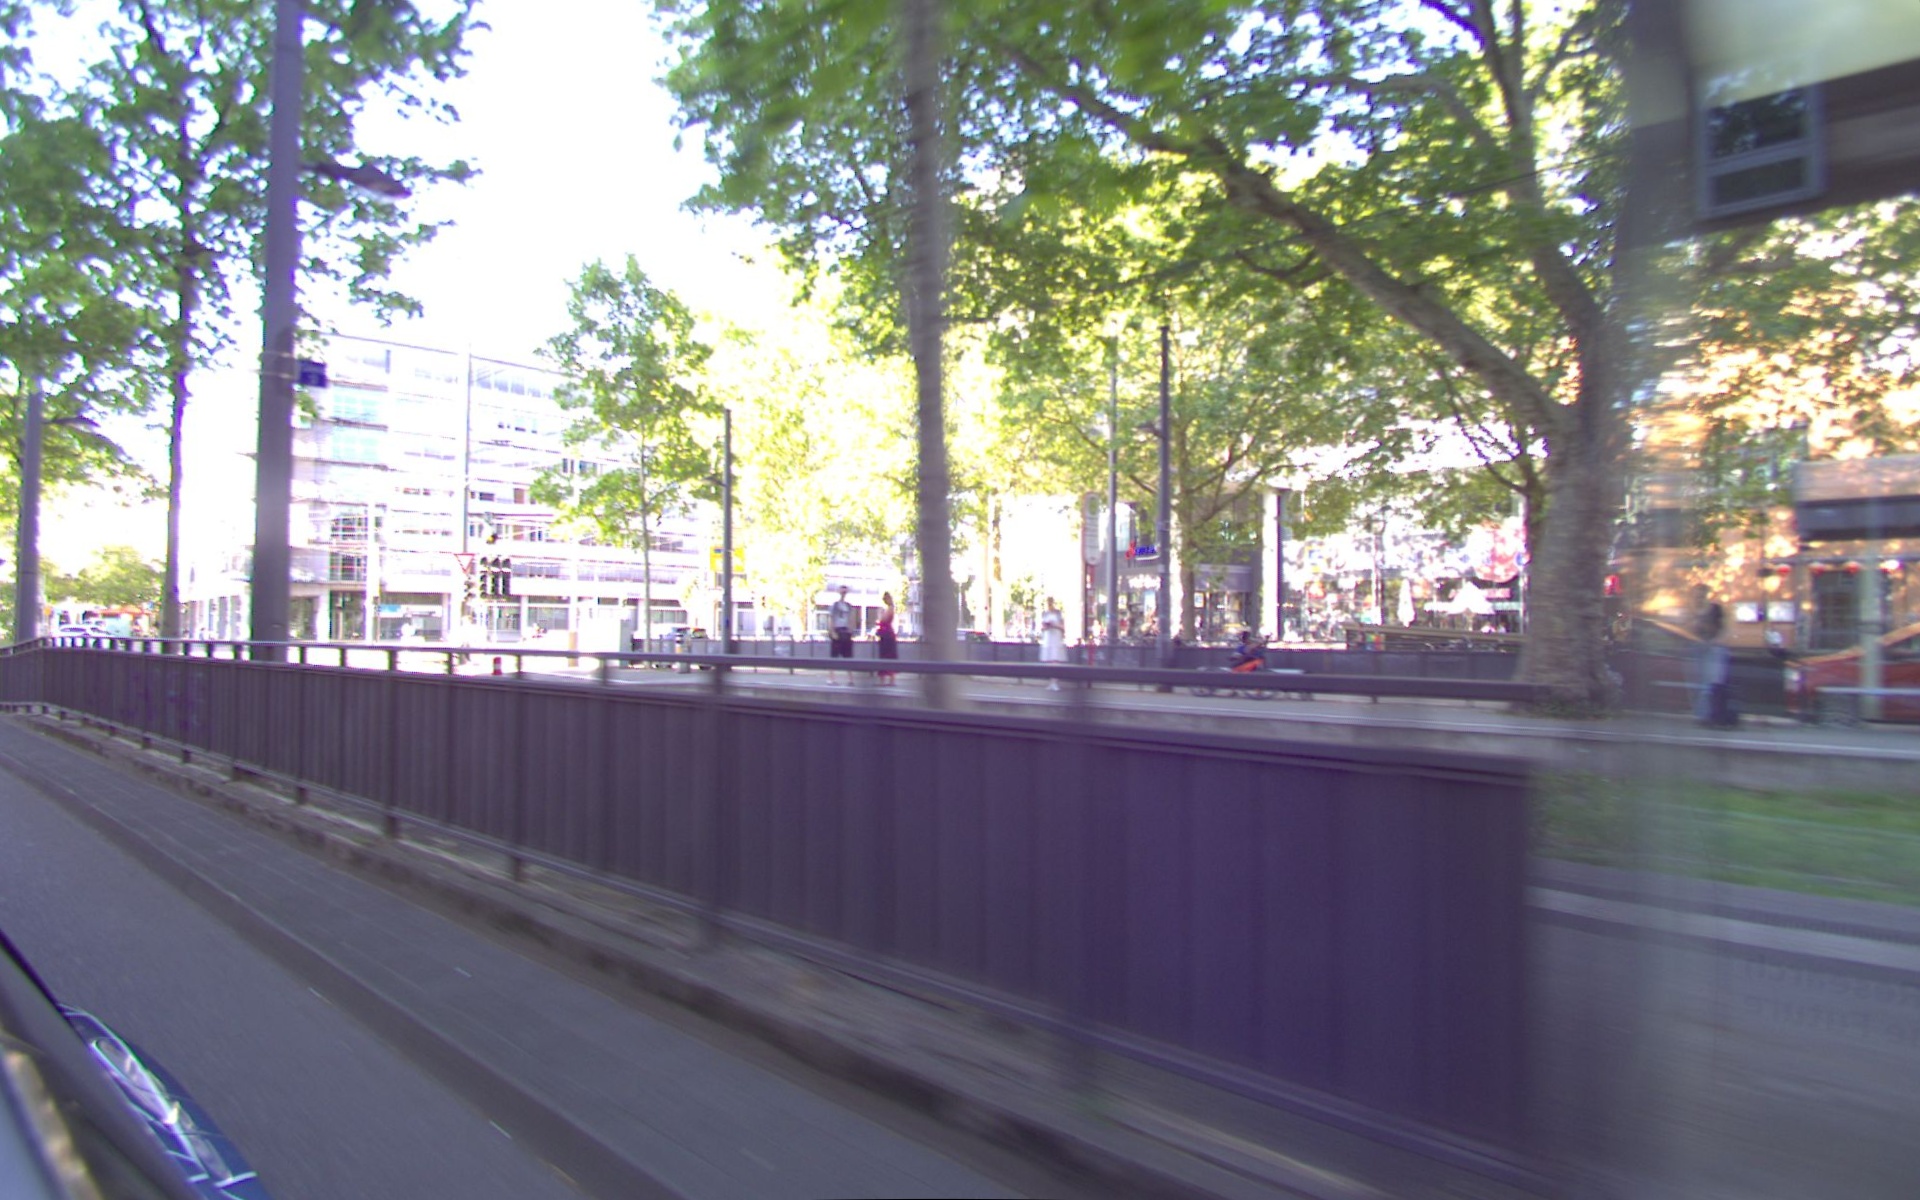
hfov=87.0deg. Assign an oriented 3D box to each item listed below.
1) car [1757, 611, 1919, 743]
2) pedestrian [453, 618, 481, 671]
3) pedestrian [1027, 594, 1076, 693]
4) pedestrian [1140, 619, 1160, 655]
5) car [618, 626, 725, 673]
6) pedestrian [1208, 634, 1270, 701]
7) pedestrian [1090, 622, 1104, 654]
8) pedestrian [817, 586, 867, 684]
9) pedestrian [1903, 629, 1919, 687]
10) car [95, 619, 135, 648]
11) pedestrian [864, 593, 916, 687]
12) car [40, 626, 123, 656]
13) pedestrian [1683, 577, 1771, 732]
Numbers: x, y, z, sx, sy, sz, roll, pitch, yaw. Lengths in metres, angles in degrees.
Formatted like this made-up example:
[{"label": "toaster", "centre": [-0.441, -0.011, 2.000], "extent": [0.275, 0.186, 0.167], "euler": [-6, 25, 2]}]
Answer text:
[{"label": "car", "centre": [13.021, 0.998, 13.196], "extent": [3.999, 1.652, 1.972], "euler": [-1, -3, 42]}, {"label": "pedestrian", "centre": [-16.011, 1.425, 32.853], "extent": [0.501, 1.698, 0.640], "euler": [-1, -2, 38]}, {"label": "pedestrian", "centre": [1.669, 0.787, 18.442], "extent": [0.635, 1.753, 0.690], "euler": [-1, -2, 32]}, {"label": "pedestrian", "centre": [9.421, 1.820, 50.157], "extent": [0.852, 1.753, 0.788], "euler": [-1, -2, 24]}, {"label": "car", "centre": [-9.430, 1.573, 33.055], "extent": [3.340, 1.466, 1.847], "euler": [-1, -2, 41]}, {"label": "pedestrian", "centre": [4.571, 1.089, 16.598], "extent": [0.713, 1.048, 0.699], "euler": [1, -2, -41]}, {"label": "pedestrian", "centre": [7.199, 1.981, 53.200], "extent": [0.616, 1.696, 0.530], "euler": [0, -2, -5]}, {"label": "pedestrian", "centre": [-2.181, 0.649, 18.773], "extent": [0.674, 1.767, 0.649], "euler": [-1, -2, 32]}, {"label": "pedestrian", "centre": [27.088, 1.632, 28.593], "extent": [0.571, 1.616, 0.580], "euler": [1, -2, -44]}, {"label": "car", "centre": [-55.519, 2.162, 66.505], "extent": [1.969, 1.796, 4.006], "euler": [-1, -1, -41]}, {"label": "pedestrian", "centre": [-1.302, 0.740, 18.843], "extent": [0.697, 1.709, 0.678], "euler": [-1, -2, 32]}, {"label": "car", "centre": [-46.379, 2.128, 53.530], "extent": [1.877, 1.494, 4.300], "euler": [1, -2, -20]}, {"label": "pedestrian", "centre": [8.510, 0.594, 11.261], "extent": [0.666, 1.654, 0.662], "euler": [-1, -2, 29]}]
